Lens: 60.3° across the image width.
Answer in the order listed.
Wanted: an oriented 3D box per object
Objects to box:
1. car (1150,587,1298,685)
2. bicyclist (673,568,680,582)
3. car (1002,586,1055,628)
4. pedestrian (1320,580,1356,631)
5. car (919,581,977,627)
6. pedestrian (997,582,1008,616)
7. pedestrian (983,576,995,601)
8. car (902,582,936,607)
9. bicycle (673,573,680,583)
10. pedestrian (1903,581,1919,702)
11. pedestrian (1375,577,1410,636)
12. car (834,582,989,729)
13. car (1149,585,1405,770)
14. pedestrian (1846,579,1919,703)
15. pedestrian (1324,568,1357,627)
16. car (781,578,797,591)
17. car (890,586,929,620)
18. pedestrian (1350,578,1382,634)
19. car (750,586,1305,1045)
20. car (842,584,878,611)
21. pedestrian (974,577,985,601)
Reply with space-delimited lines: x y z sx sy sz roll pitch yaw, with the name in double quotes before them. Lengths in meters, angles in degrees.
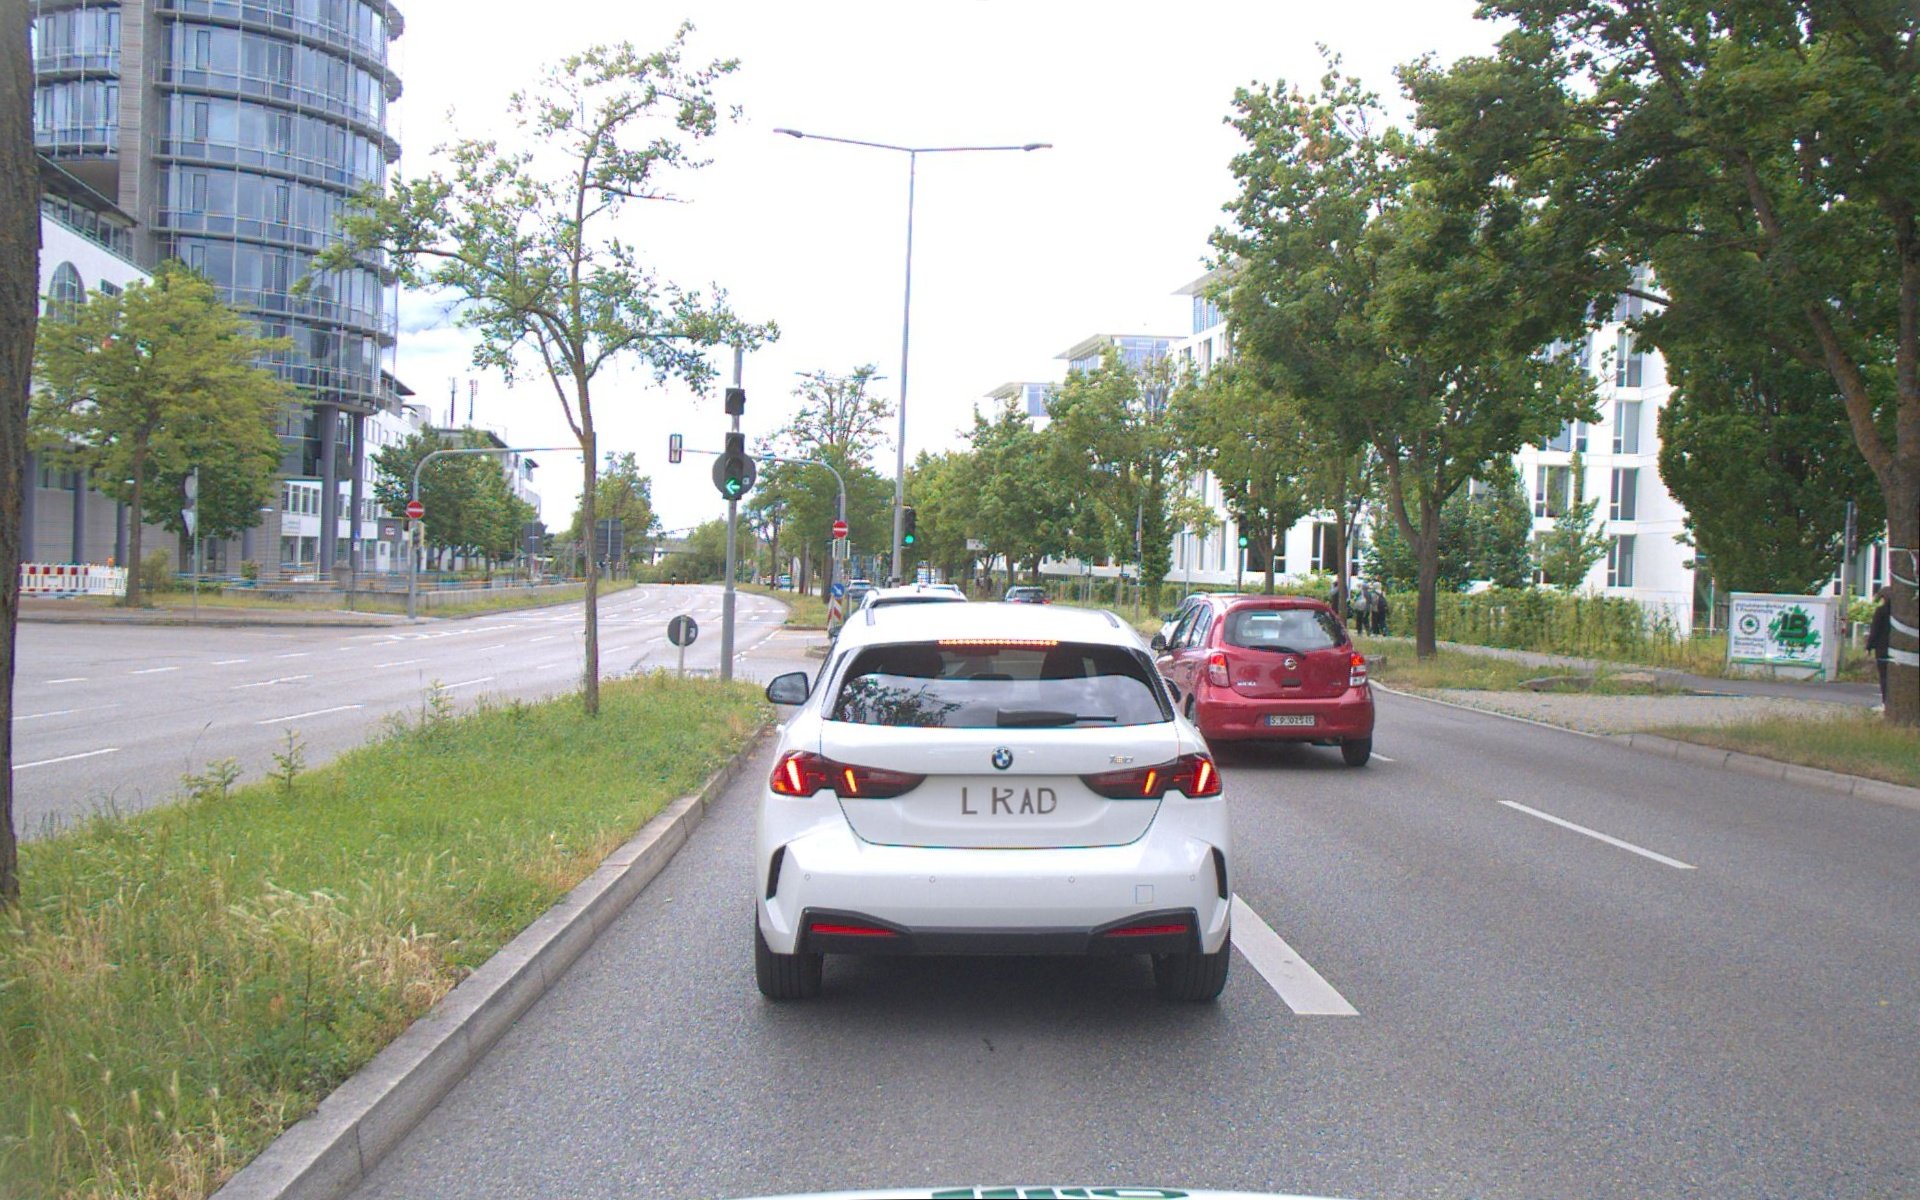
"car" 4.553 0.580 29.052 1.682 1.583 4.086 1 0 -4
"bicyclist" -34.529 -3.074 201.739 0.796 1.681 1.185 1 -1 -11
"car" 2.596 0.280 63.465 1.624 1.539 3.997 1 -1 -4
"pedestrian" 11.199 0.165 49.048 0.773 1.473 1.111 1 0 -2
"car" -0.484 0.137 61.115 1.818 1.624 4.309 0 0 -5
"pedestrian" 3.363 -0.093 130.957 0.814 2.673 0.646 1 0 -1
"pedestrian" 2.474 -0.991 139.057 0.835 2.049 0.603 1 0 -16
"car" -2.530 -0.330 100.336 1.623 1.450 3.528 0 0 -9
"bicycle" -34.525 -2.706 201.645 0.796 1.123 2.549 1 0 -11
"pedestrian" 13.873 0.593 23.191 0.762 1.689 0.952 1 0 5
"pedestrian" 12.854 0.194 49.175 0.751 1.715 0.883 1 -1 -2
"car" -0.680 0.609 20.314 1.520 1.596 3.994 1 0 -7
"car" 2.945 0.661 16.134 1.681 1.585 3.857 0 0 -1
"pedestrian" 13.132 0.566 23.277 0.779 1.689 1.060 1 0 5
"pedestrian" 10.593 -0.068 46.065 0.726 1.601 0.674 1 -1 -2
"car" -22.535 -1.993 218.174 1.957 1.699 3.992 0 0 -9
"car" -2.335 0.118 75.783 1.574 1.494 3.672 1 0 -5
"pedestrian" 12.085 0.181 49.212 0.685 1.623 0.883 1 -1 -2
"car" 0.199 0.700 7.423 1.785 1.463 3.999 1 0 -1
"car" -6.279 -0.188 103.472 1.856 1.624 4.305 1 0 -9
"pedestrian" 1.690 -0.944 141.067 0.749 2.049 0.751 1 -1 -16
